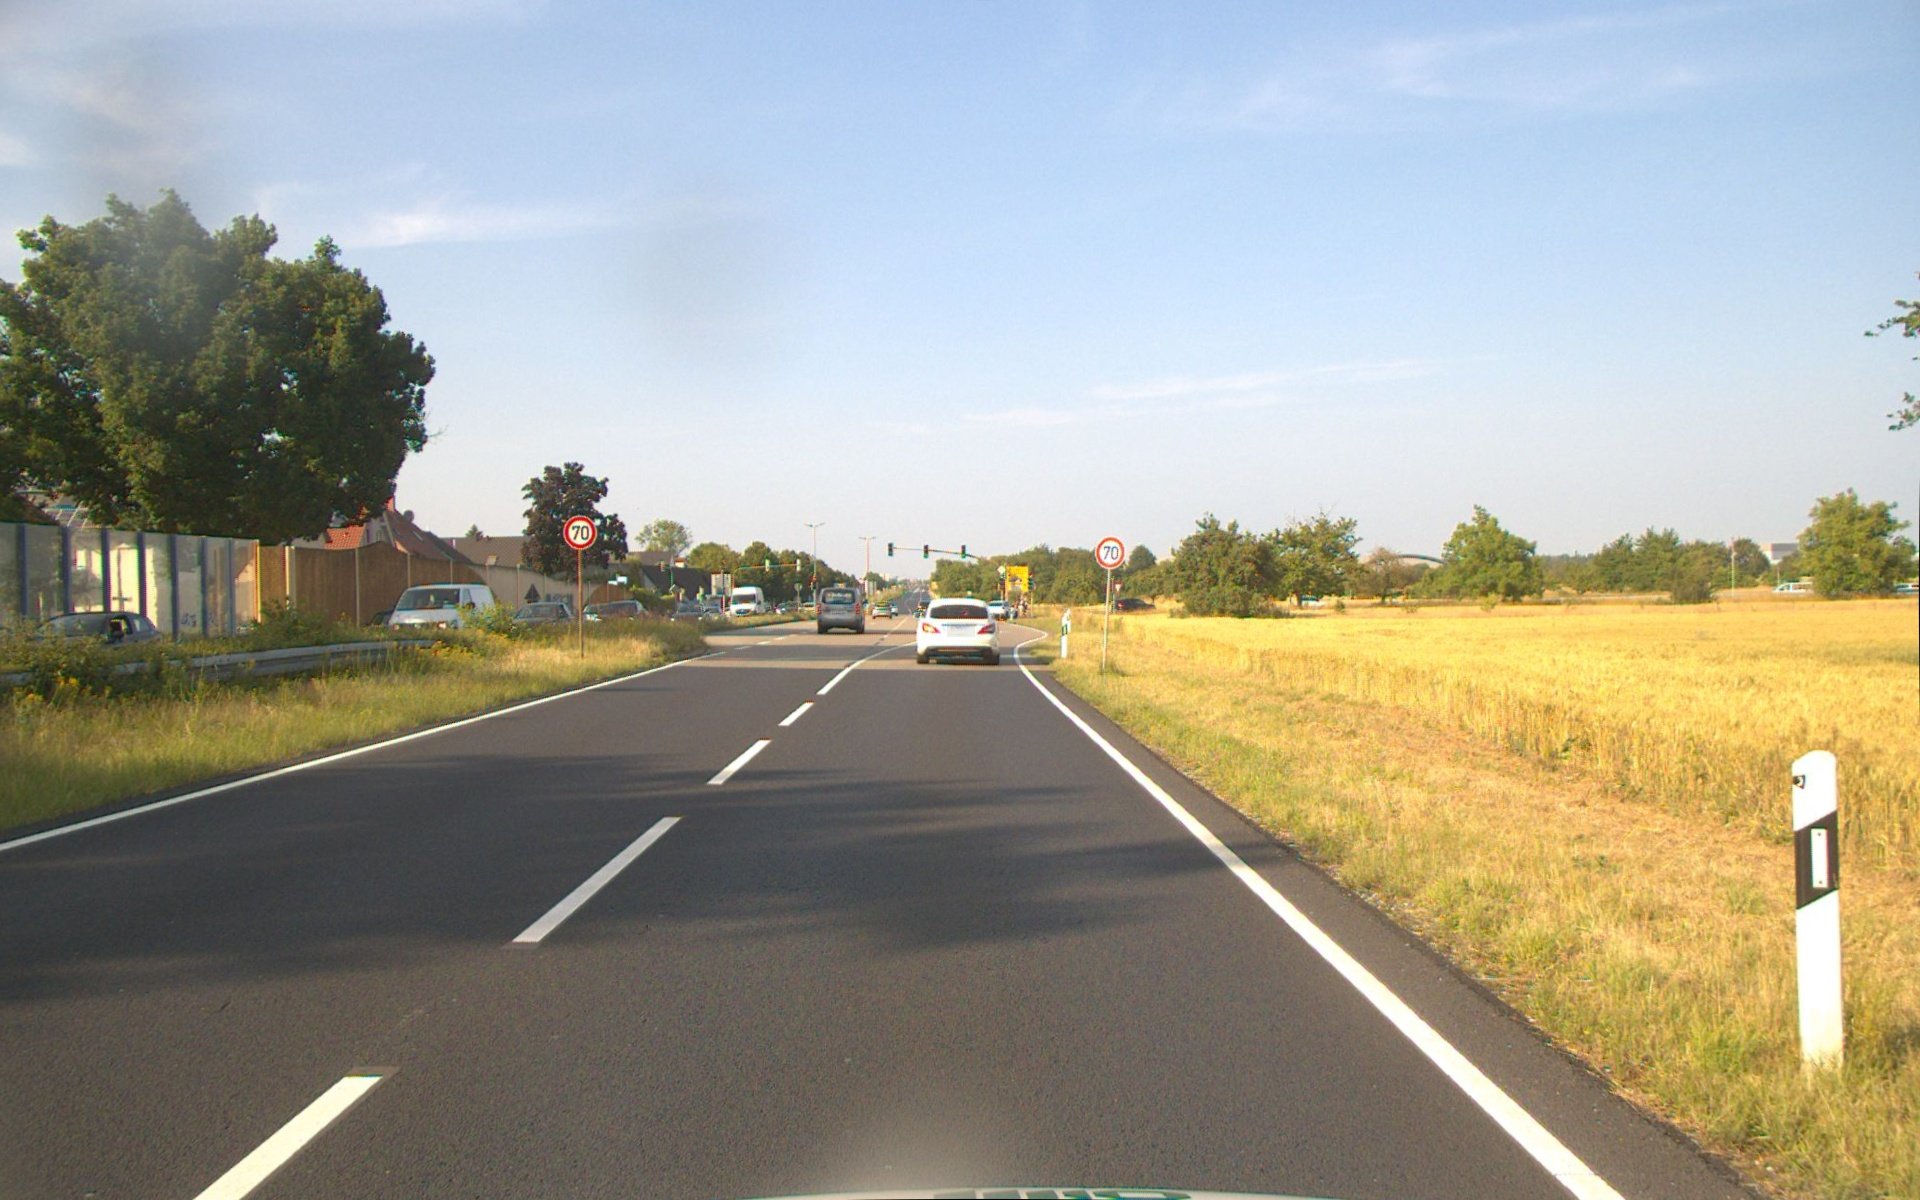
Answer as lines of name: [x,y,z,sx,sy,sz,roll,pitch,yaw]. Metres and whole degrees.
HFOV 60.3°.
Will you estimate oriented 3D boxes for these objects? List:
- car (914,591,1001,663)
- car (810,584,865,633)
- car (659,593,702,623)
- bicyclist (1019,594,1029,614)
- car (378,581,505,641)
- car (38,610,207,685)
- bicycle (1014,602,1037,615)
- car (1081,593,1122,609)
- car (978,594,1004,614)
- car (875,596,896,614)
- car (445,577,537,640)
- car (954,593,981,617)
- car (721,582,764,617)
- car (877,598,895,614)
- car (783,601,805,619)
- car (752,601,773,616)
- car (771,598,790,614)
car: [-0.101,0.575,37.415,1.856,1.535,3.999,0,0,-1]
car: [-5.119,0.322,69.810,1.984,1.925,4.958,1,1,-1]
car: [-14.225,0.384,84.337,1.615,1.467,3.567,1,0,0]
bicyclist: [5.782,0.357,149.259,0.830,1.786,0.799,1,0,2]
car: [-13.826,0.271,44.383,1.941,1.510,5.058,1,0,-2]
car: [-17.074,0.929,33.892,1.640,1.402,3.606,1,0,-1]
bicycle: [5.936,0.775,149.254,2.052,1.108,0.808,1,0,2]
car: [12.671,0.094,148.186,3.607,1.445,1.640,1,0,0]
car: [2.525,0.315,135.727,1.818,1.626,3.997,1,0,-3]
car: [-6.463,0.403,143.325,1.682,1.518,3.584,1,0,-1]
car: [-14.463,0.243,51.219,1.728,1.864,4.367,1,0,-2]
car: [0.455,0.290,110.462,1.718,1.543,3.999,-1,0,-1]
car: [-15.344,-0.047,117.217,2.301,2.343,7.188,1,0,-2]
car: [-8.011,0.620,178.812,1.741,1.694,3.660,1,0,-5]
car: [-15.641,0.919,156.319,1.696,1.653,4.921,1,0,-2]
car: [-19.780,0.845,165.635,1.676,1.482,3.999,1,0,-1]
car: [-20.646,0.657,190.382,1.687,1.736,3.999,1,0,-1]
